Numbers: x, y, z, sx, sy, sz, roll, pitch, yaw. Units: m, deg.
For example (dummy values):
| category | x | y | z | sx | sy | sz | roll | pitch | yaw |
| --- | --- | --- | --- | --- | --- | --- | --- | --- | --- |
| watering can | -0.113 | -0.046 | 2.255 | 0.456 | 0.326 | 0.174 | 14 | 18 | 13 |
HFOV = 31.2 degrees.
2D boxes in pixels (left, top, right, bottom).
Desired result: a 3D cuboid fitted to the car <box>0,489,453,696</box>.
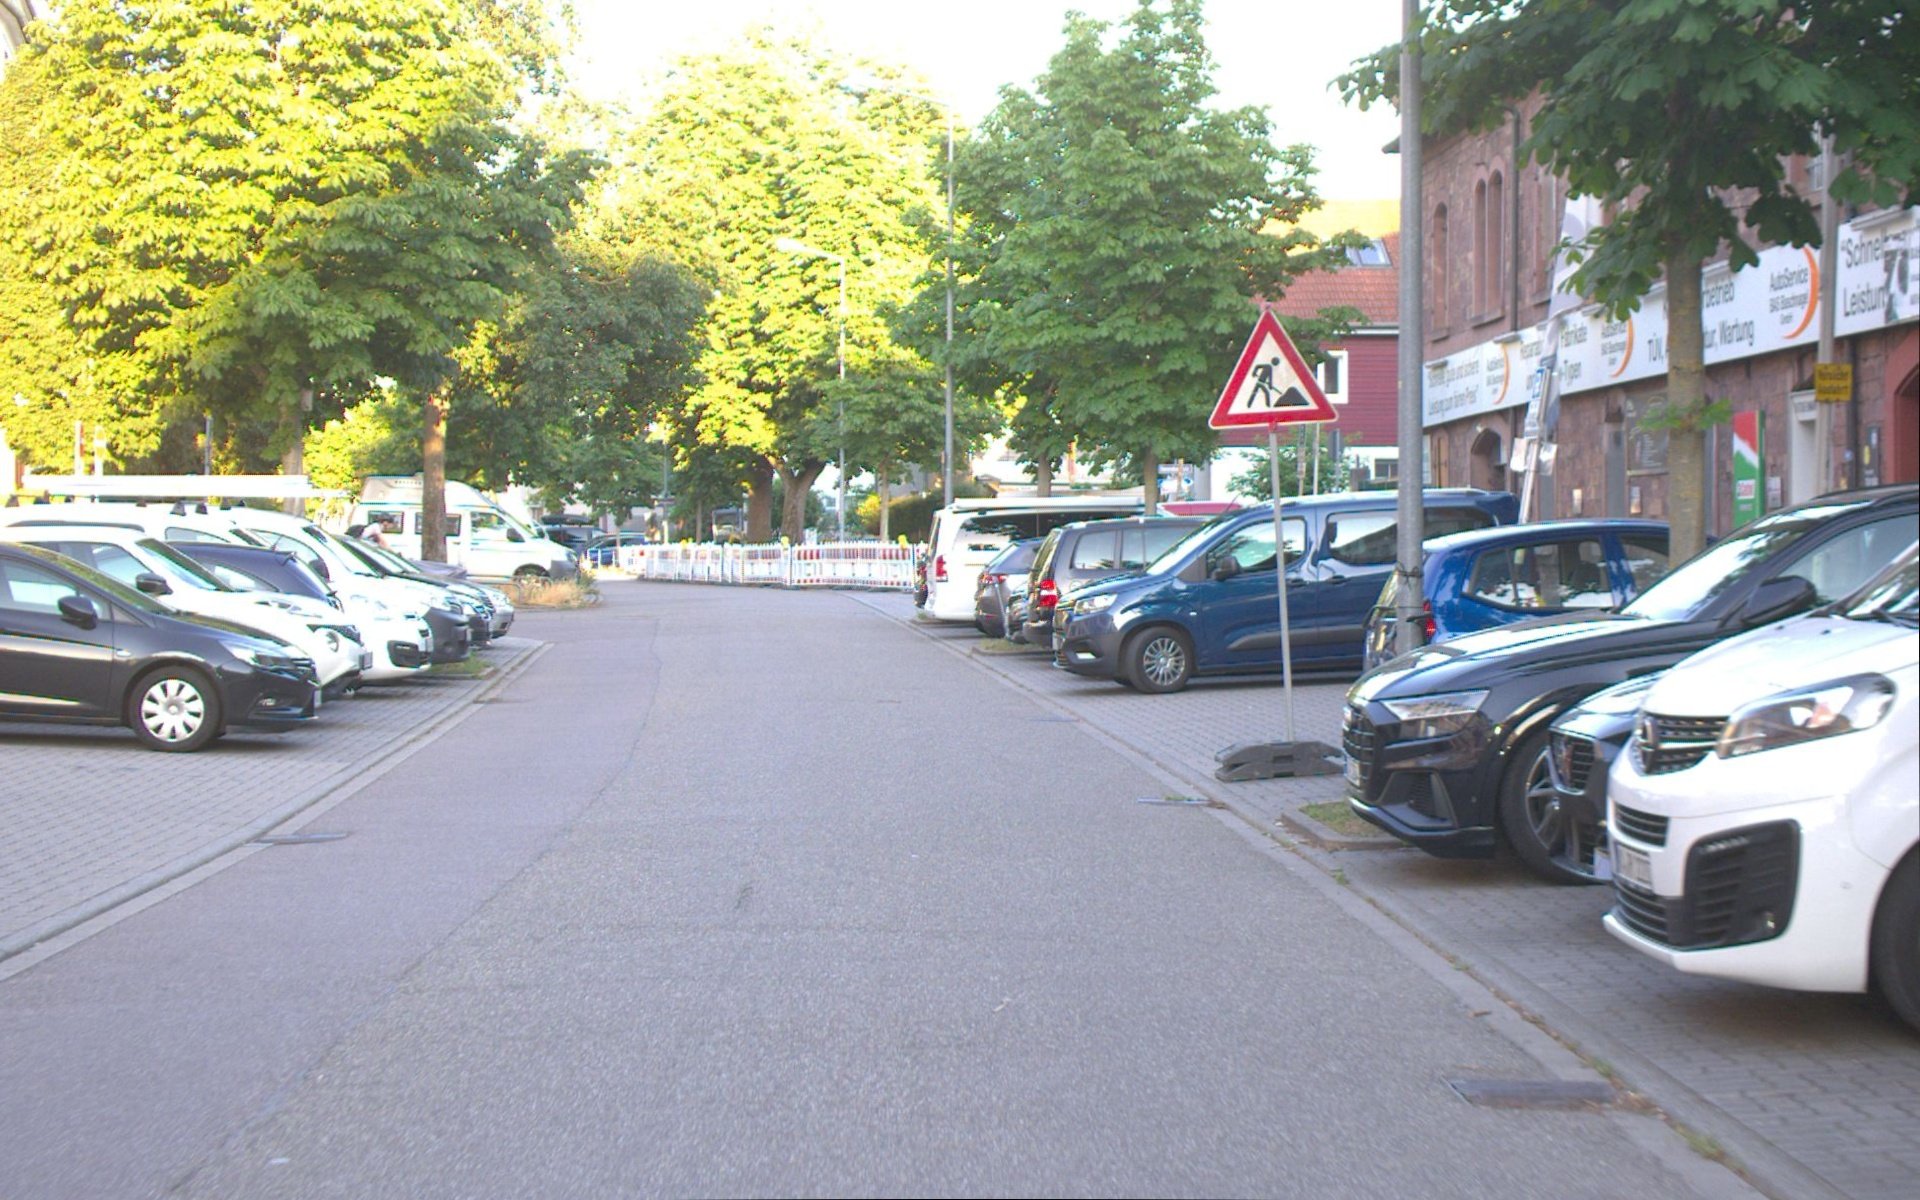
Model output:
| category | x | y | z | sx | sy | sz | roll | pitch | yaw |
| --- | --- | --- | --- | --- | --- | --- | --- | --- | --- |
| car | -7.202 | -0.100 | 32.778 | 4.421 | 1.796 | 1.943 | 2 | 1 | -1 |

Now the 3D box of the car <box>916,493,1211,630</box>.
| category | x | y | z | sx | sy | sz | roll | pitch | yaw |
| --- | --- | --- | --- | --- | --- | --- | --- | --- | --- |
| car | 1.426 | -0.547 | 48.694 | 3.986 | 1.897 | 2.000 | 0 | 1 | -4 |

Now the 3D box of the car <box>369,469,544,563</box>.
| category | x | y | z | sx | sy | sz | roll | pitch | yaw |
| --- | --- | --- | --- | --- | --- | --- | --- | --- | --- |
| car | -13.310 | -2.204 | 90.748 | 4.501 | 2.422 | 2.001 | 0 | 1 | -10 |

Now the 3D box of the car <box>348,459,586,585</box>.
| category | x | y | z | sx | sy | sz | roll | pitch | yaw |
| --- | --- | --- | --- | --- | --- | --- | --- | --- | --- |
| car | -10.231 | -1.613 | 71.585 | 4.731 | 2.561 | 2.000 | 0 | 1 | -2 |

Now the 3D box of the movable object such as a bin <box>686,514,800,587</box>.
| category | x | y | z | sx | sy | sz | roll | pitch | yaw |
| --- | --- | --- | --- | --- | --- | --- | --- | --- | --- |
| movable object such as a bin | -7.368 | -1.674 | 116.215 | 2.627 | 2.394 | 5.199 | 0 | 1 | -18 |

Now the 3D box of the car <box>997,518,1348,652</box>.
| category | x | y | z | sx | sy | sz | roll | pitch | yaw |
| --- | --- | --- | --- | --- | --- | --- | --- | --- | --- |
| car | 2.515 | -0.189 | 41.349 | 3.945 | 1.560 | 1.821 | 0 | 1 | -7 |

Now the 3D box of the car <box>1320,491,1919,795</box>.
| category | x | y | z | sx | sy | sz | roll | pitch | yaw |
| --- | --- | --- | --- | --- | --- | --- | --- | --- | --- |
| car | 4.340 | 0.210 | 20.811 | 3.987 | 1.540 | 1.845 | -4 | 1 | -2 |

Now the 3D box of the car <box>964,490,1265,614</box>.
| category | x | y | z | sx | sy | sz | roll | pitch | yaw |
| --- | --- | --- | --- | --- | --- | --- | --- | --- | --- |
| car | 2.271 | -0.713 | 51.250 | 4.300 | 1.793 | 1.904 | 0 | 1 | -3 |

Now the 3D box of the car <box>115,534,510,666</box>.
| category | x | y | z | sx | sy | sz | roll | pitch | yaw |
| --- | --- | --- | --- | --- | --- | --- | --- | --- | --- |
| car | -7.639 | -0.014 | 40.843 | 4.326 | 1.400 | 1.852 | 2 | 1 | -1 |

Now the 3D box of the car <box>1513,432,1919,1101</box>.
| category | x | y | z | sx | sy | sz | roll | pitch | yaw |
| --- | --- | --- | --- | --- | --- | --- | --- | --- | --- |
| car | 4.274 | 0.306 | 10.857 | 4.587 | 1.855 | 2.012 | -5 | 1 | 0 |

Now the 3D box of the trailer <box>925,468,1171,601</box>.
| category | x | y | z | sx | sy | sz | roll | pitch | yaw |
| --- | --- | --- | --- | --- | --- | --- | --- | --- | --- |
| trailer | 1.448 | -1.101 | 58.071 | 3.986 | 2.180 | 2.000 | 0 | 1 | -3 |

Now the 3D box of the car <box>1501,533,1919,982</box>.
| category | x | y | z | sx | sy | sz | roll | pitch | yaw |
| --- | --- | --- | --- | --- | --- | --- | --- | --- | --- |
| car | 4.266 | 0.465 | 13.184 | 3.987 | 1.491 | 1.892 | -4 | 1 | 0 |

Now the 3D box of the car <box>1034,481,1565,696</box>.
| category | x | y | z | sx | sy | sz | roll | pitch | yaw |
| --- | --- | --- | --- | --- | --- | --- | --- | --- | --- |
| car | 3.236 | -0.148 | 33.435 | 4.786 | 1.748 | 2.018 | -3 | 2 | -3 |

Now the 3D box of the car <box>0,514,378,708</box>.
| category | x | y | z | sx | sy | sz | roll | pitch | yaw |
| --- | --- | --- | --- | --- | --- | --- | --- | --- | --- |
| car | -7.298 | 0.057 | 30.495 | 3.986 | 1.479 | 1.756 | 3 | 1 | -4 |

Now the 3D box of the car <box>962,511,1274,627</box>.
| category | x | y | z | sx | sy | sz | roll | pitch | yaw |
| --- | --- | --- | --- | --- | --- | --- | --- | --- | --- |
| car | 2.076 | -0.415 | 45.874 | 3.986 | 1.504 | 1.777 | 0 | 1 | -3 |

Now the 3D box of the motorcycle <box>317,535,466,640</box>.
| category | x | y | z | sx | sy | sz | roll | pitch | yaw |
| --- | --- | --- | --- | --- | --- | --- | --- | --- | --- |
| motorcycle | -7.783 | -0.174 | 47.120 | 1.985 | 1.431 | 0.722 | 0 | 1 | -8 |

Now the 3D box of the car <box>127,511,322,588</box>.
| category | x | y | z | sx | sy | sz | roll | pitch | yaw |
| --- | --- | --- | --- | --- | --- | --- | --- | --- | --- |
| car | -18.189 | -1.253 | 85.178 | 4.672 | 1.867 | 2.001 | 0 | 1 | -11 |

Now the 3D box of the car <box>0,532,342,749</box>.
| category | x | y | z | sx | sy | sz | roll | pitch | yaw |
| --- | --- | --- | --- | --- | --- | --- | --- | --- | --- |
| car | -6.895 | 0.233 | 25.305 | 4.407 | 1.447 | 1.828 | 2 | 1 | -4 |

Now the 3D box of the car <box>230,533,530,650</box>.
| category | x | y | z | sx | sy | sz | roll | pitch | yaw |
| --- | --- | --- | --- | --- | --- | --- | --- | --- | --- |
| car | -7.647 | -0.122 | 45.556 | 3.713 | 1.501 | 1.690 | 0 | 1 | -1 |

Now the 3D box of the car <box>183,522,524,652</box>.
| category | x | y | z | sx | sy | sz | roll | pitch | yaw |
| --- | --- | --- | --- | --- | --- | --- | --- | --- | --- |
| car | -7.548 | -0.174 | 43.044 | 3.986 | 1.578 | 1.729 | 0 | 1 | -1 |

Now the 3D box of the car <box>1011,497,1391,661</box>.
| category | x | y | z | sx | sy | sz | roll | pitch | yaw |
| --- | --- | --- | --- | --- | --- | --- | --- | --- | --- |
| car | 2.680 | -0.250 | 38.883 | 3.986 | 1.613 | 1.895 | -3 | 1 | -4 |

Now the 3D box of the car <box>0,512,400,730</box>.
| category | x | y | z | sx | sy | sz | roll | pitch | yaw |
| --- | --- | --- | --- | --- | --- | --- | --- | --- | --- |
| car | -6.822 | 0.132 | 27.978 | 4.243 | 1.615 | 1.813 | 2 | 1 | -2 |

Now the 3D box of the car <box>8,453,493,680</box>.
| category | x | y | z | sx | sy | sz | roll | pitch | yaw |
| --- | --- | --- | --- | --- | --- | --- | --- | --- | --- |
| car | -7.267 | -0.371 | 35.550 | 4.512 | 2.063 | 2.000 | 3 | 2 | 0 |

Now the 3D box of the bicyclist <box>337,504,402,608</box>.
| category | x | y | z | sx | sy | sz | roll | pitch | yaw |
| --- | --- | --- | --- | --- | --- | --- | --- | --- | --- |
| bicyclist | -9.868 | -0.739 | 57.434 | 0.837 | 1.720 | 0.801 | 0 | 1 | -32 |

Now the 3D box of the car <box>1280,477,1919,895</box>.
| category | x | y | z | sx | sy | sz | roll | pitch | yaw |
| --- | --- | --- | --- | --- | --- | --- | --- | --- | --- |
| car | 3.963 | 0.285 | 15.818 | 4.695 | 1.626 | 2.000 | -4 | 1 | 0 |
